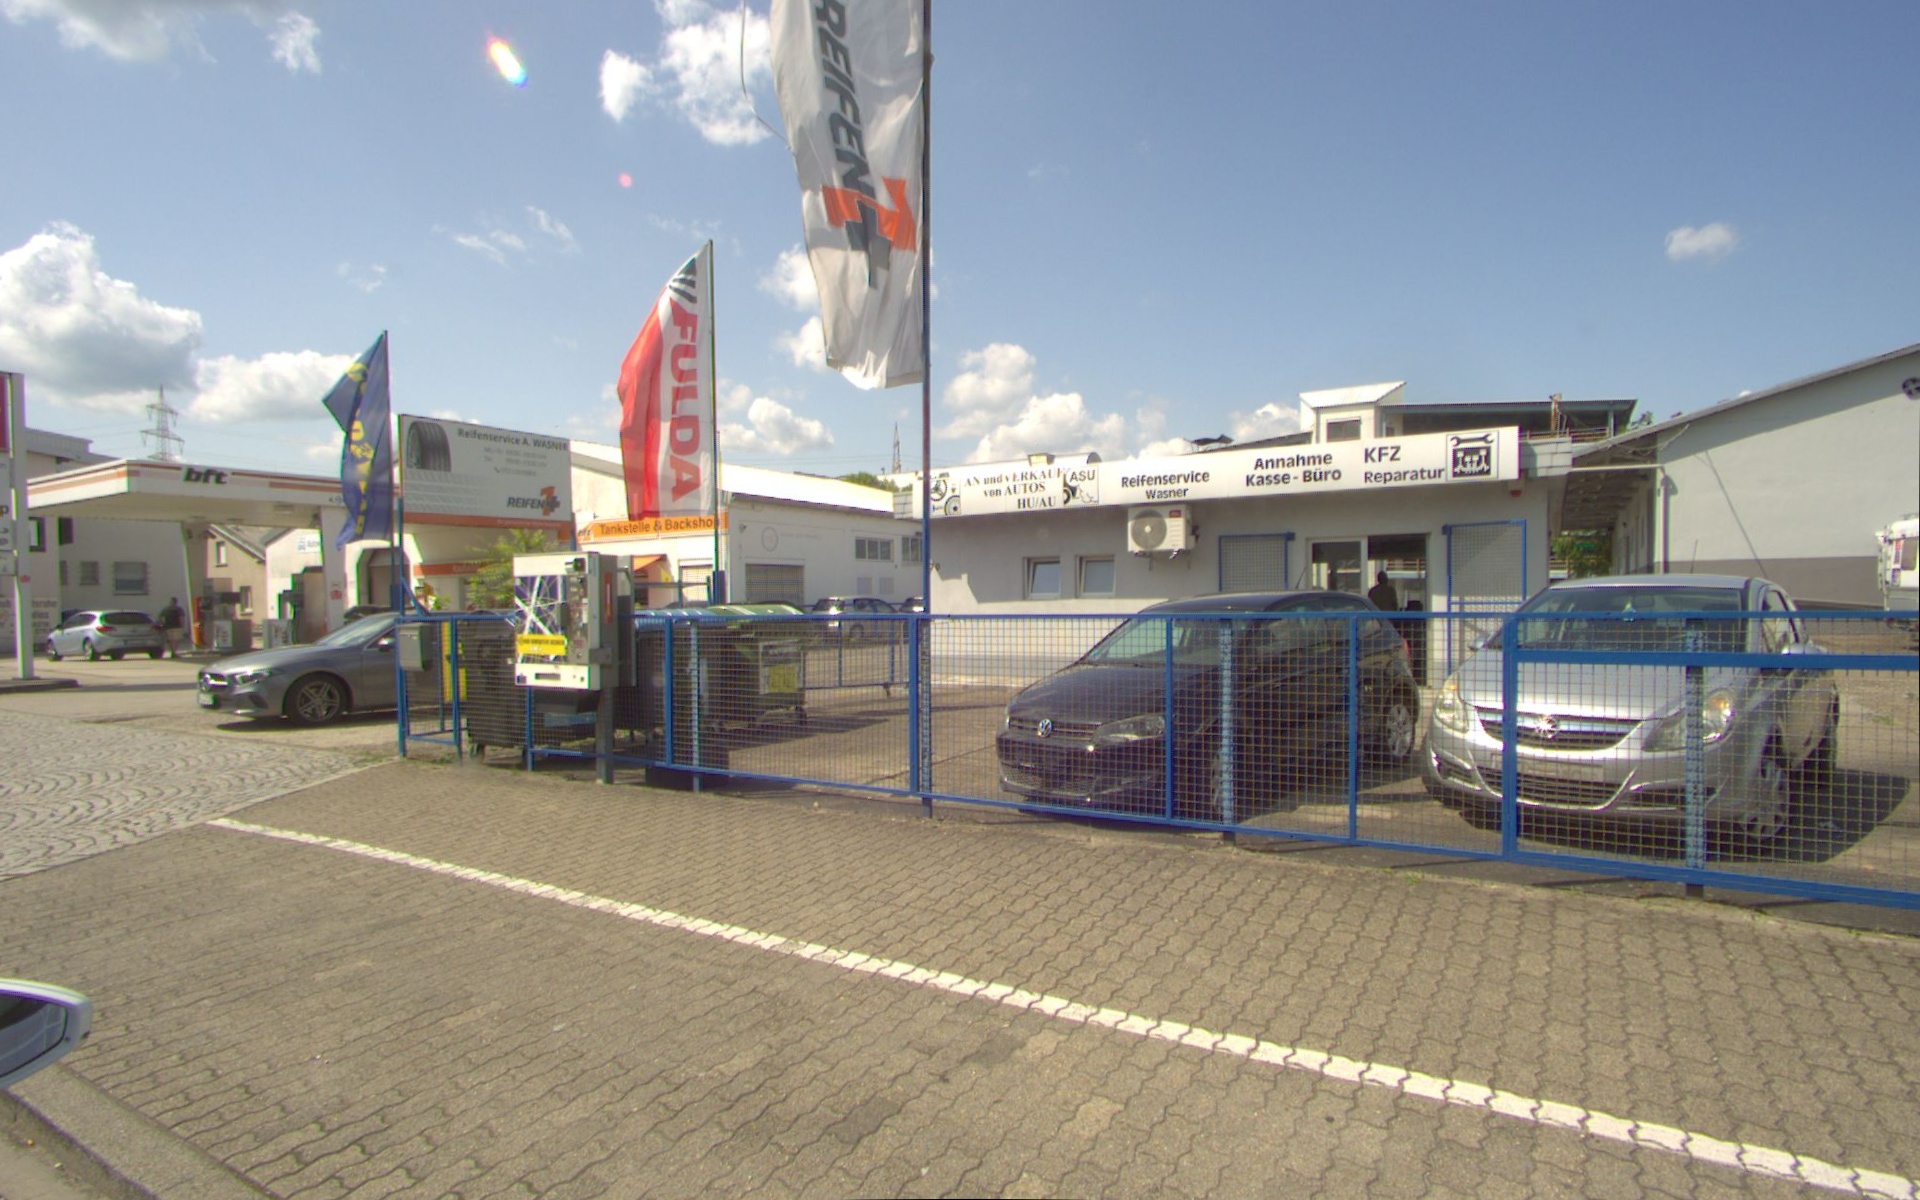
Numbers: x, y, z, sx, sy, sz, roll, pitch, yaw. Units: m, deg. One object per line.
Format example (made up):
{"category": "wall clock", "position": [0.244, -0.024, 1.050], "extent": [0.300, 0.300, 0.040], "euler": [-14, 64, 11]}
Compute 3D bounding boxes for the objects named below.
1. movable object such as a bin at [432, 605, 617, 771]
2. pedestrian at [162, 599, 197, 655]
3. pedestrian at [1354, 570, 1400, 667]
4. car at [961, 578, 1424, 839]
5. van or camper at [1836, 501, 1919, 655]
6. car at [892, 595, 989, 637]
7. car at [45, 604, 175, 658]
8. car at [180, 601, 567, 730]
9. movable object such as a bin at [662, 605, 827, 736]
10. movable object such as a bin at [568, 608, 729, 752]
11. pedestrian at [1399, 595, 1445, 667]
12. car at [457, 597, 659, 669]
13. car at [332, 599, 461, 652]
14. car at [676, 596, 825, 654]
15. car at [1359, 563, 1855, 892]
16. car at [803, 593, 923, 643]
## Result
{"category": "movable object such as a bin", "position": [-4.163, 0.784, 9.606], "extent": [1.225, 1.455, 1.106], "euler": [0, 1, 31]}
{"category": "pedestrian", "position": [-23.779, 0.801, 30.515], "extent": [0.698, 1.679, 0.546], "euler": [-1, 1, -22]}
{"category": "pedestrian", "position": [7.349, 0.318, 17.644], "extent": [0.654, 1.671, 0.563], "euler": [0, 1, 34]}
{"category": "car", "position": [1.889, 0.600, 7.488], "extent": [3.655, 1.472, 1.625], "euler": [-1, 0, -43]}
{"category": "van or camper", "position": [21.012, -0.455, 19.527], "extent": [5.571, 3.005, 2.264], "euler": [0, 1, 31]}
{"category": "car", "position": [-0.642, 0.534, 35.734], "extent": [1.564, 1.385, 3.860], "euler": [0, 0, 33]}
{"category": "car", "position": [-25.739, 0.901, 30.305], "extent": [3.776, 1.523, 1.803], "euler": [-1, 0, 30]}
{"category": "car", "position": [-7.766, 0.760, 13.668], "extent": [1.652, 1.434, 4.259], "euler": [0, 0, 36]}
{"category": "movable object such as a bin", "position": [-2.537, 0.781, 11.901], "extent": [1.318, 1.414, 1.400], "euler": [0, 1, 31]}
{"category": "movable object such as a bin", "position": [-3.330, 0.801, 10.736], "extent": [1.225, 1.415, 1.106], "euler": [0, 1, 31]}
{"category": "pedestrian", "position": [8.043, 0.531, 17.437], "extent": [0.654, 1.225, 0.563], "euler": [0, 1, 34]}
{"category": "car", "position": [-9.168, 0.688, 23.162], "extent": [1.564, 1.482, 4.187], "euler": [0, 0, 33]}
{"category": "car", "position": [-17.312, 0.747, 30.722], "extent": [3.777, 1.523, 1.803], "euler": [-1, 0, 31]}
{"category": "car", "position": [-5.721, 0.641, 27.818], "extent": [1.564, 1.482, 4.187], "euler": [0, 0, 33]}
{"category": "car", "position": [4.269, 0.559, 6.378], "extent": [3.729, 1.472, 1.757], "euler": [-1, 0, -42]}
{"category": "car", "position": [-3.018, 0.526, 32.049], "extent": [1.564, 1.482, 4.187], "euler": [0, 0, 33]}
